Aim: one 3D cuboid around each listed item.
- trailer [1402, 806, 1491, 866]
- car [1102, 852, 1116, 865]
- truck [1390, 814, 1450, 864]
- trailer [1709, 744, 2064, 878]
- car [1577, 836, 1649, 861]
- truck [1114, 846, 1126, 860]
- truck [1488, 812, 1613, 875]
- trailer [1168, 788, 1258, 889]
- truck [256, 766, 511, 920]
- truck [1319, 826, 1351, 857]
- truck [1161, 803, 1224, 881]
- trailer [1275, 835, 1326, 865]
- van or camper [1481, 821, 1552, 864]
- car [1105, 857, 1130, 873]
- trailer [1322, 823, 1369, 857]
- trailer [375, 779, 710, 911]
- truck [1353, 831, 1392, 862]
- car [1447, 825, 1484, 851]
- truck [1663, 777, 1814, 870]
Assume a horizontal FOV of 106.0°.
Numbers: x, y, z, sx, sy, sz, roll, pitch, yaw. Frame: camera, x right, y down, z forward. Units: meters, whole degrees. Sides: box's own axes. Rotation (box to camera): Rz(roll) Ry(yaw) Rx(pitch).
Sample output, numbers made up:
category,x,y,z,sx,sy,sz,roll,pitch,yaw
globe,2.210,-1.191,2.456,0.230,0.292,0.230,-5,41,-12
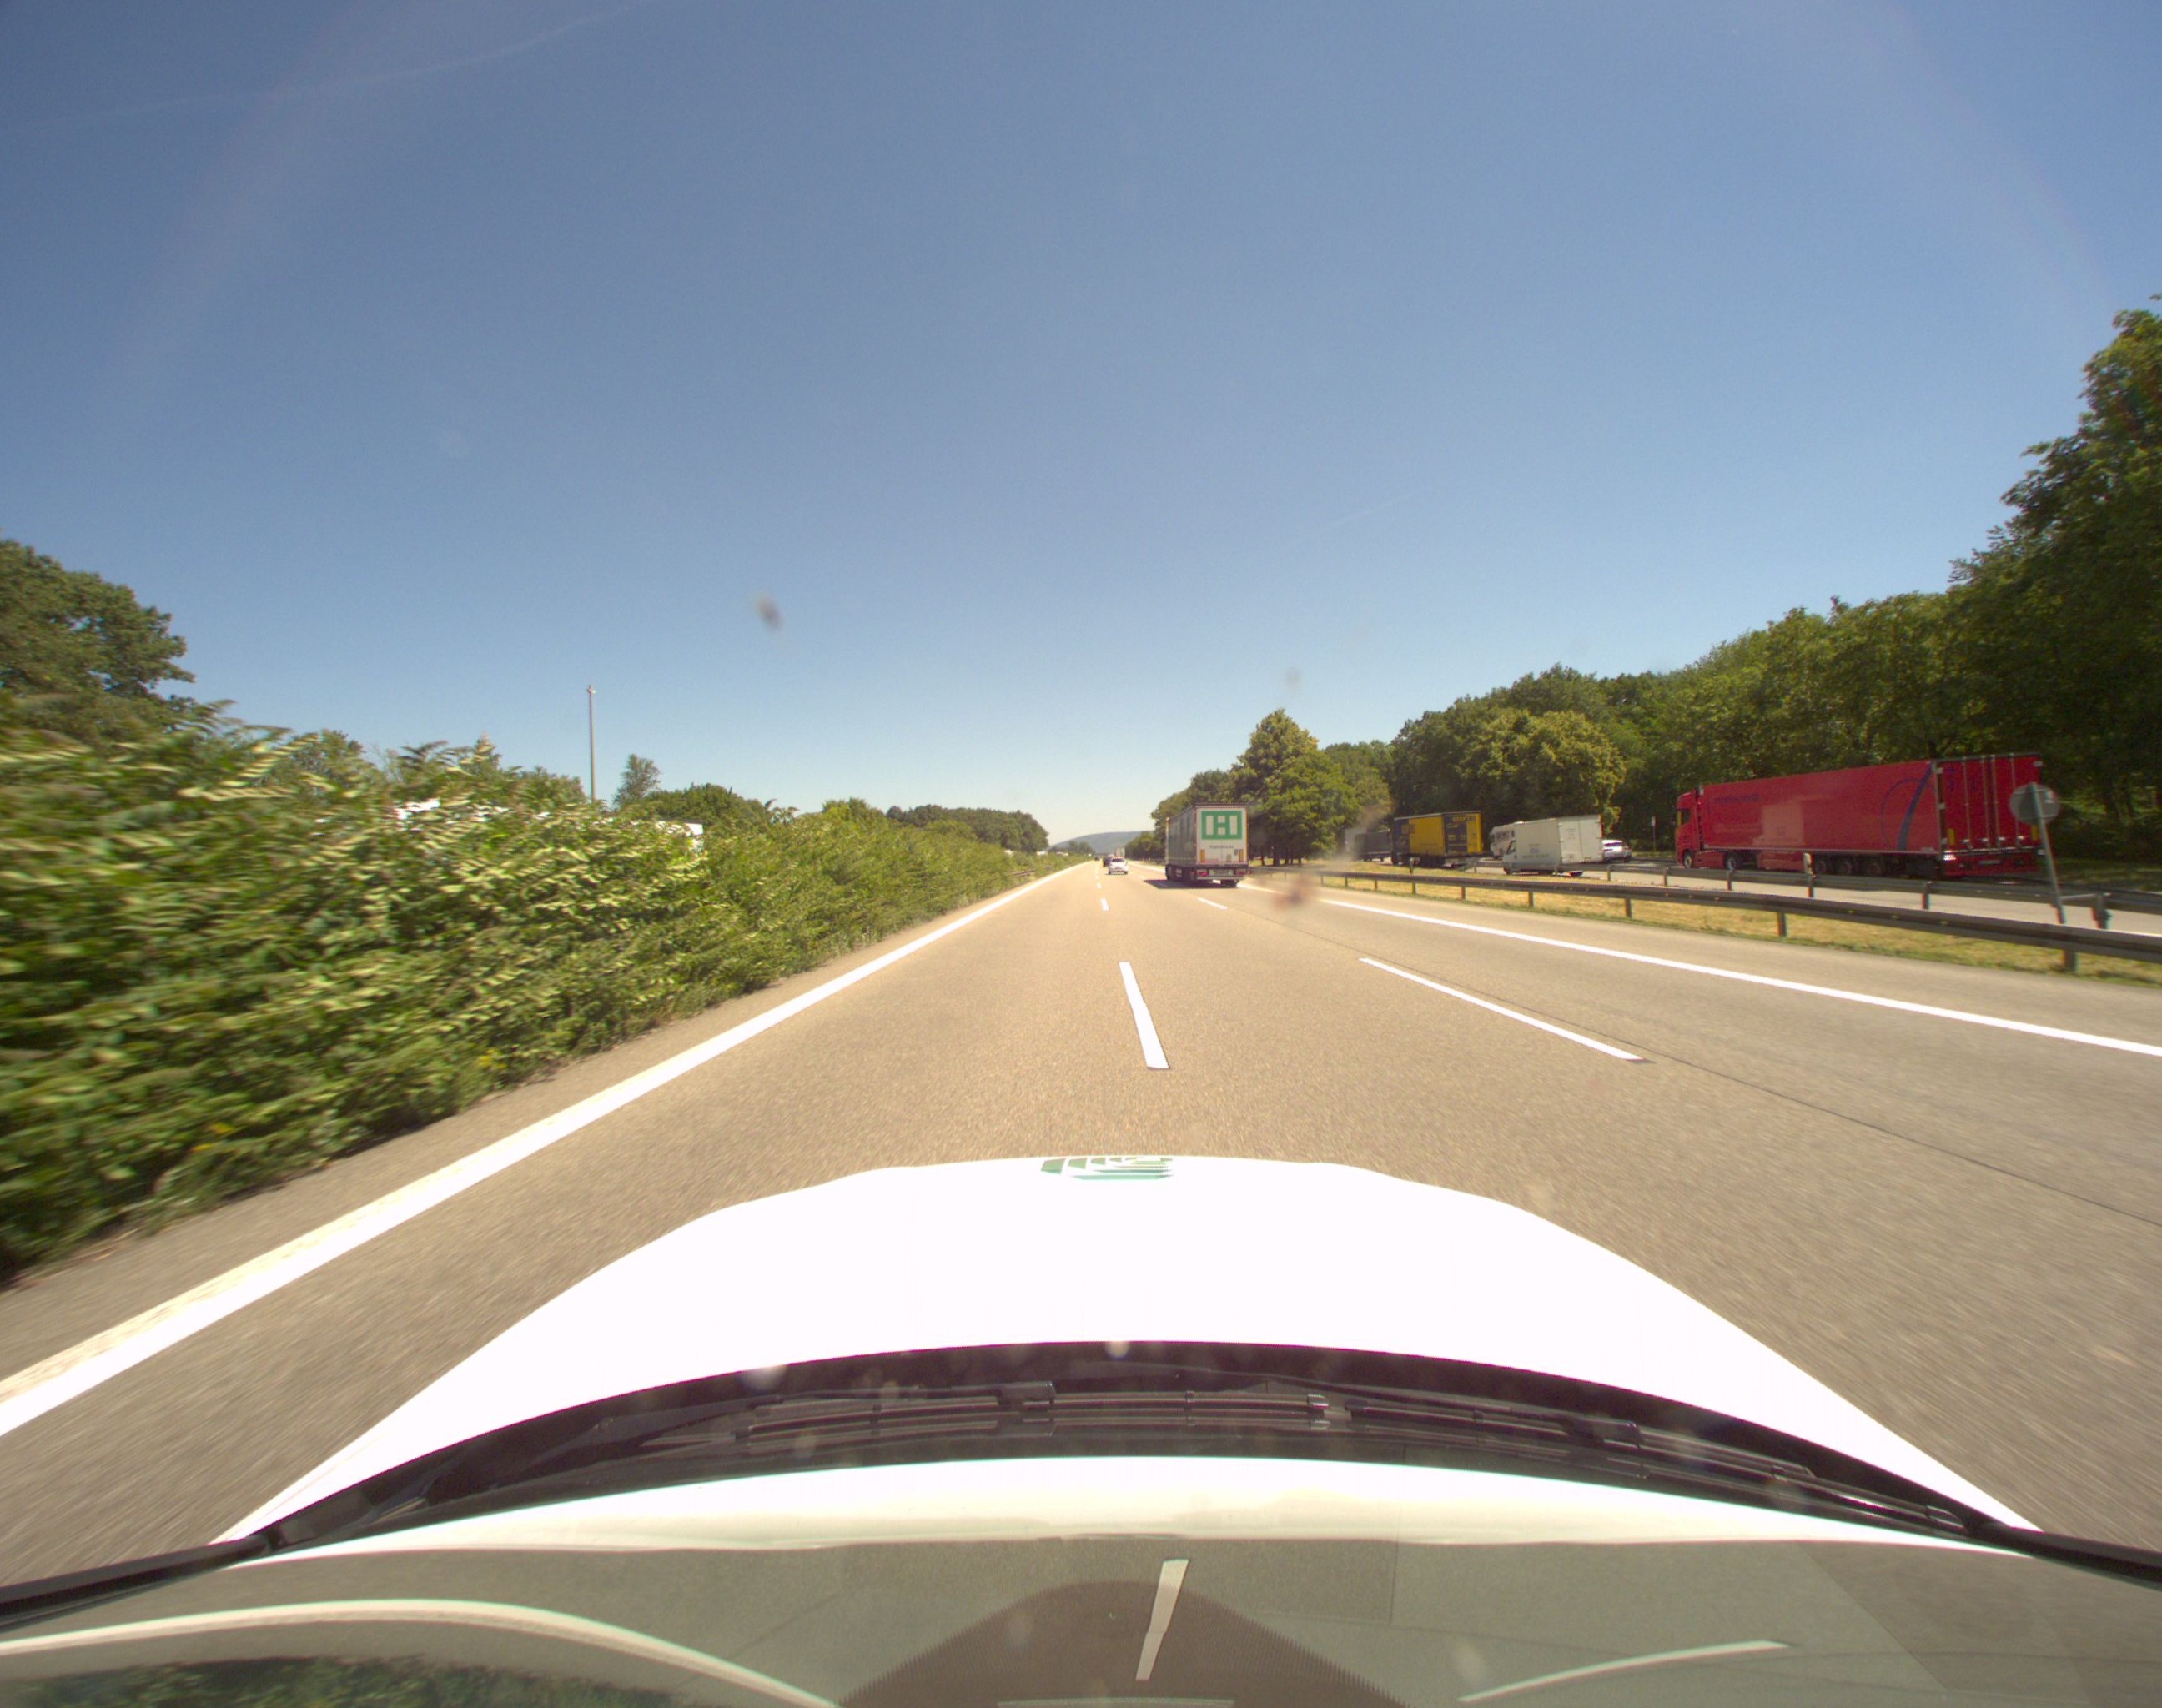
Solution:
category,x,y,z,sx,sy,sz,roll,pitch,yaw
trailer,26.777,-1.194,60.381,3.164,3.935,11.582,-1,0,10
car,4.272,0.671,122.311,1.888,1.892,4.004,-2,0,4
truck,28.093,-1.194,67.754,3.164,3.935,6.635,-1,0,10
trailer,28.773,-1.275,30.561,2.959,3.878,12.933,-2,0,13
car,33.410,-0.315,51.314,1.981,1.451,5.049,-2,0,10
truck,10.846,-0.200,227.423,3.313,3.756,12.800,-1,0,2
truck,24.374,-0.501,42.796,2.457,2.946,7.666,-1,0,3
trailer,6.765,-0.714,43.855,3.170,4.627,12.055,-2,0,2
truck,-17.811,-0.252,21.192,2.954,3.558,4.222,-1,0,0
truck,32.458,-1.563,104.400,3.072,3.790,5.328,-1,0,8
truck,6.991,-0.690,51.804,3.171,4.607,5.948,-1,0,1
trailer,31.599,-0.547,118.221,3.127,3.952,14.186,-2,0,-2
van or camper,35.853,-0.921,67.314,2.981,3.235,7.018,-2,0,9
car,3.277,0.977,73.839,1.809,1.405,3.311,-2,0,-5
trailer,31.527,-1.564,97.650,3.085,3.790,13.392,-1,0,8
trailer,-17.802,-0.211,29.012,2.954,3.569,13.431,-1,0,0
truck,30.184,-0.743,84.547,2.455,3.086,6.630,-1,0,7
car,38.244,-1.538,81.089,1.982,2.439,4.791,-2,0,9
truck,30.522,-1.348,38.191,2.958,3.881,6.441,-2,0,14
